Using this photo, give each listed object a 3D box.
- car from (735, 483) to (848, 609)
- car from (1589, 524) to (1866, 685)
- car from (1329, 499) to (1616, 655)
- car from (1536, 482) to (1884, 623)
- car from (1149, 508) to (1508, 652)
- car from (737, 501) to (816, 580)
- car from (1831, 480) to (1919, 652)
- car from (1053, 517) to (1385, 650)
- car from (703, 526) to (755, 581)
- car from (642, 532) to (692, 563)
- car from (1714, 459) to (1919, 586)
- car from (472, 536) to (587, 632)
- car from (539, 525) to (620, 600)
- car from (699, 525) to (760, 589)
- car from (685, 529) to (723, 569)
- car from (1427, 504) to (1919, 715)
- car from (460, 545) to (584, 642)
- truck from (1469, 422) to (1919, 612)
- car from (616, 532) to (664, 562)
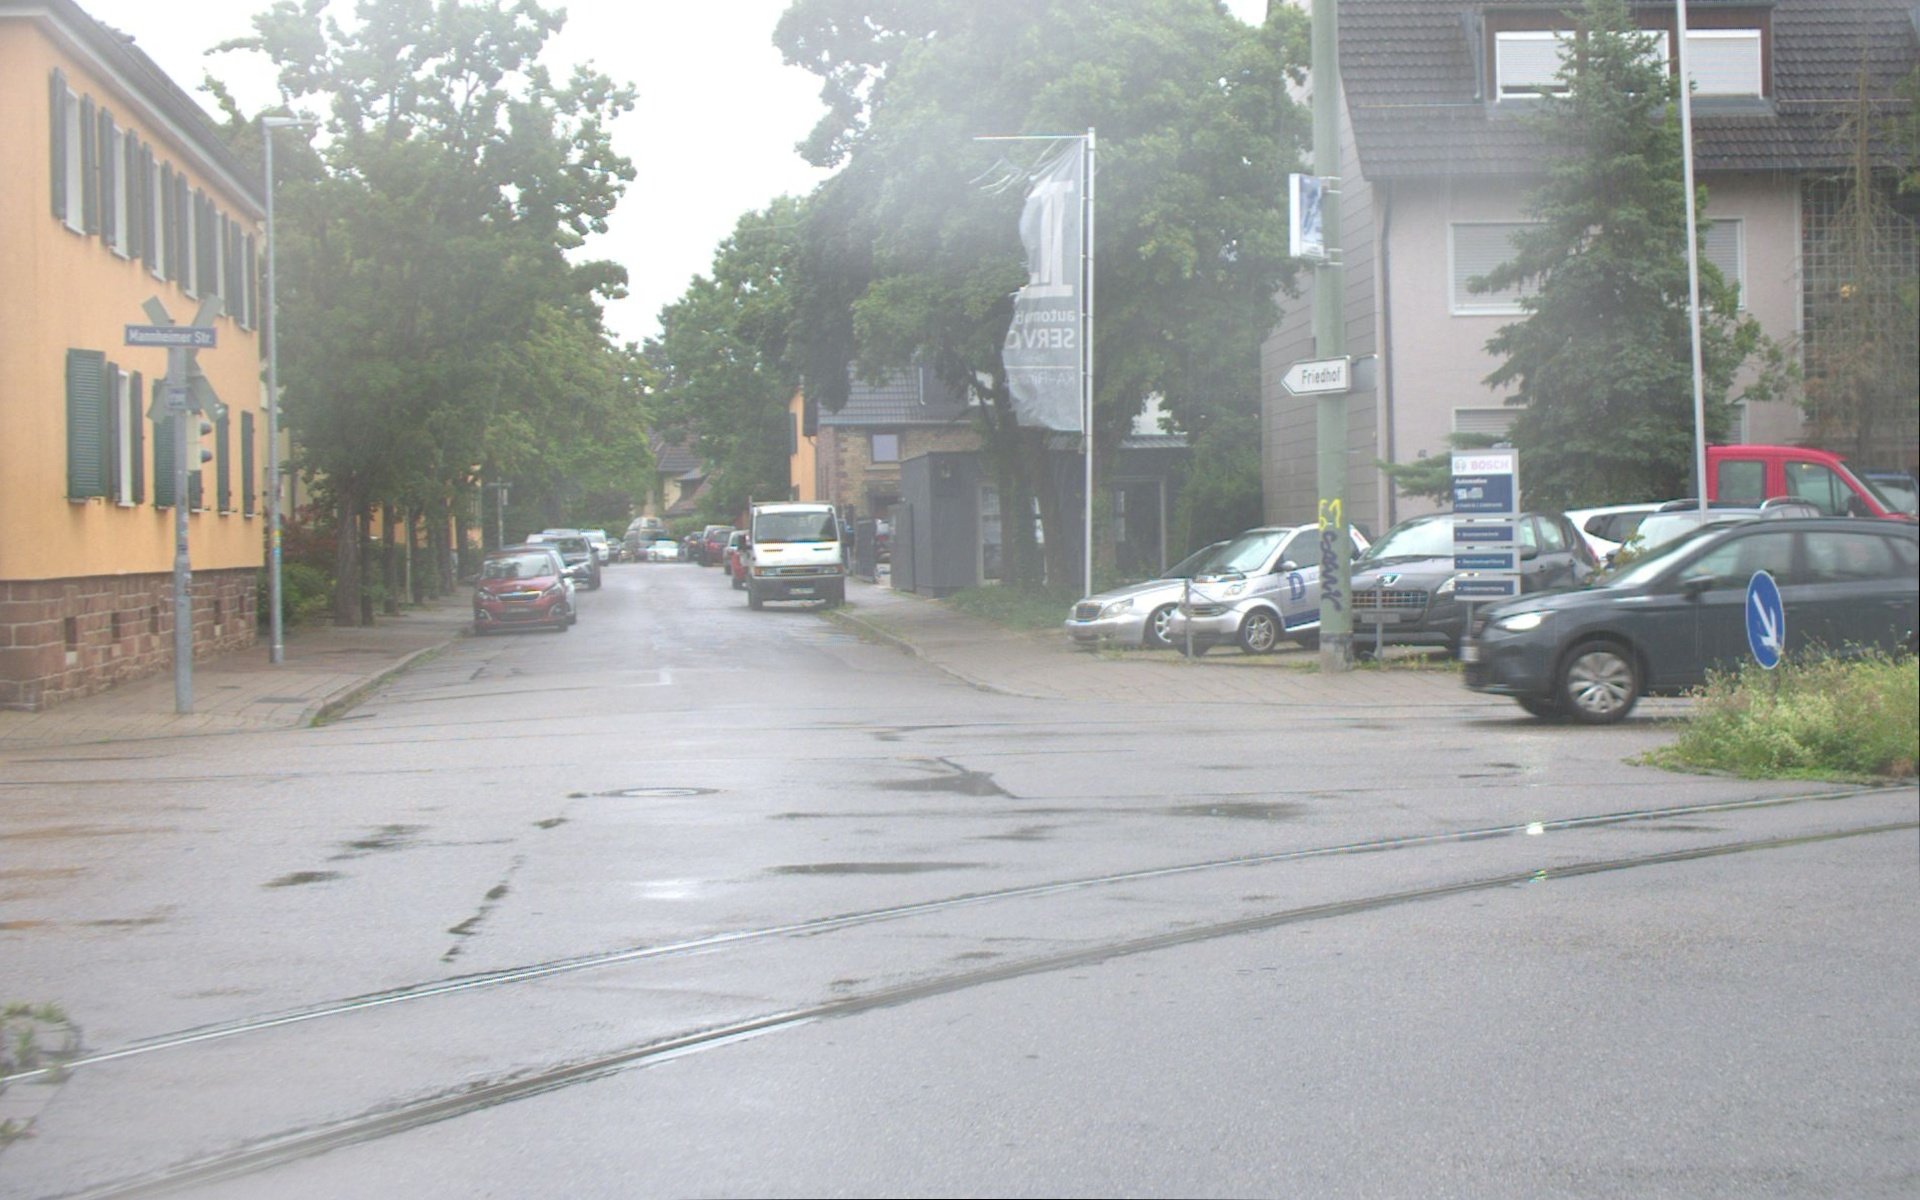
[{"bbox_3d":[-3.618,-1.151,73.147,2.153,2.564,4.134,1,1,-5],"label":"car"},{"bbox_3d":[8.288,0.023,36.903,1.805,1.573,3.866,-1,1,30],"label":"car"},{"bbox_3d":[5.675,-0.279,37.717,1.805,1.573,3.866,-1,1,30],"label":"car"},{"bbox_3d":[9.162,-0.562,41.916,3.969,1.592,1.998,-1,0,17],"label":"car"},{"bbox_3d":[4.431,-0.254,41.360,3.858,1.573,1.808,-2,1,-22],"label":"car"},{"bbox_3d":[-4.839,-1.561,90.370,1.993,2.007,4.001,1,1,-3],"label":"car"},{"bbox_3d":[10.702,-0.395,36.079,1.997,1.711,3.994,-1,1,30],"label":"car"},{"bbox_3d":[3.352,-0.232,44.565,3.858,1.573,1.808,-2,1,-22],"label":"car"},{"bbox_3d":[-8.720,-1.748,129.510,1.828,2.007,4.001,1,1,-5],"label":"car"},{"bbox_3d":[-16.515,-2.960,193.385,1.828,1.691,4.033,1,1,-20],"label":"car"},{"bbox_3d":[12.982,-1.083,47.951,4.432,1.681,2.000,-1,0,-1],"label":"car"},{"bbox_3d":[-8.161,-0.319,65.433,1.993,1.744,4.001,-1,1,-5],"label":"car"},{"bbox_3d":[-10.509,-1.050,95.093,1.993,2.007,4.001,1,1,-3],"label":"car"},{"bbox_3d":[-7.477,-1.389,111.278,1.828,2.007,4.001,1,1,-5],"label":"car"},{"bbox_3d":[-13.052,-2.593,175.258,1.828,2.007,4.001,1,1,-5],"label":"car"},{"bbox_3d":[5.754,0.040,26.230,3.986,1.471,2.000,-1,1,-4],"label":"car"},{"bbox_3d":[-7.654,-0.130,60.388,1.993,1.612,4.001,-1,1,-5],"label":"car"},{"bbox_3d":[9.828,-1.047,44.642,6.088,2.264,1.998,-1,0,17],"label":"truck"},{"bbox_3d":[-18.518,-3.086,198.750,1.828,1.691,4.033,1,1,-20],"label":"car"}]
